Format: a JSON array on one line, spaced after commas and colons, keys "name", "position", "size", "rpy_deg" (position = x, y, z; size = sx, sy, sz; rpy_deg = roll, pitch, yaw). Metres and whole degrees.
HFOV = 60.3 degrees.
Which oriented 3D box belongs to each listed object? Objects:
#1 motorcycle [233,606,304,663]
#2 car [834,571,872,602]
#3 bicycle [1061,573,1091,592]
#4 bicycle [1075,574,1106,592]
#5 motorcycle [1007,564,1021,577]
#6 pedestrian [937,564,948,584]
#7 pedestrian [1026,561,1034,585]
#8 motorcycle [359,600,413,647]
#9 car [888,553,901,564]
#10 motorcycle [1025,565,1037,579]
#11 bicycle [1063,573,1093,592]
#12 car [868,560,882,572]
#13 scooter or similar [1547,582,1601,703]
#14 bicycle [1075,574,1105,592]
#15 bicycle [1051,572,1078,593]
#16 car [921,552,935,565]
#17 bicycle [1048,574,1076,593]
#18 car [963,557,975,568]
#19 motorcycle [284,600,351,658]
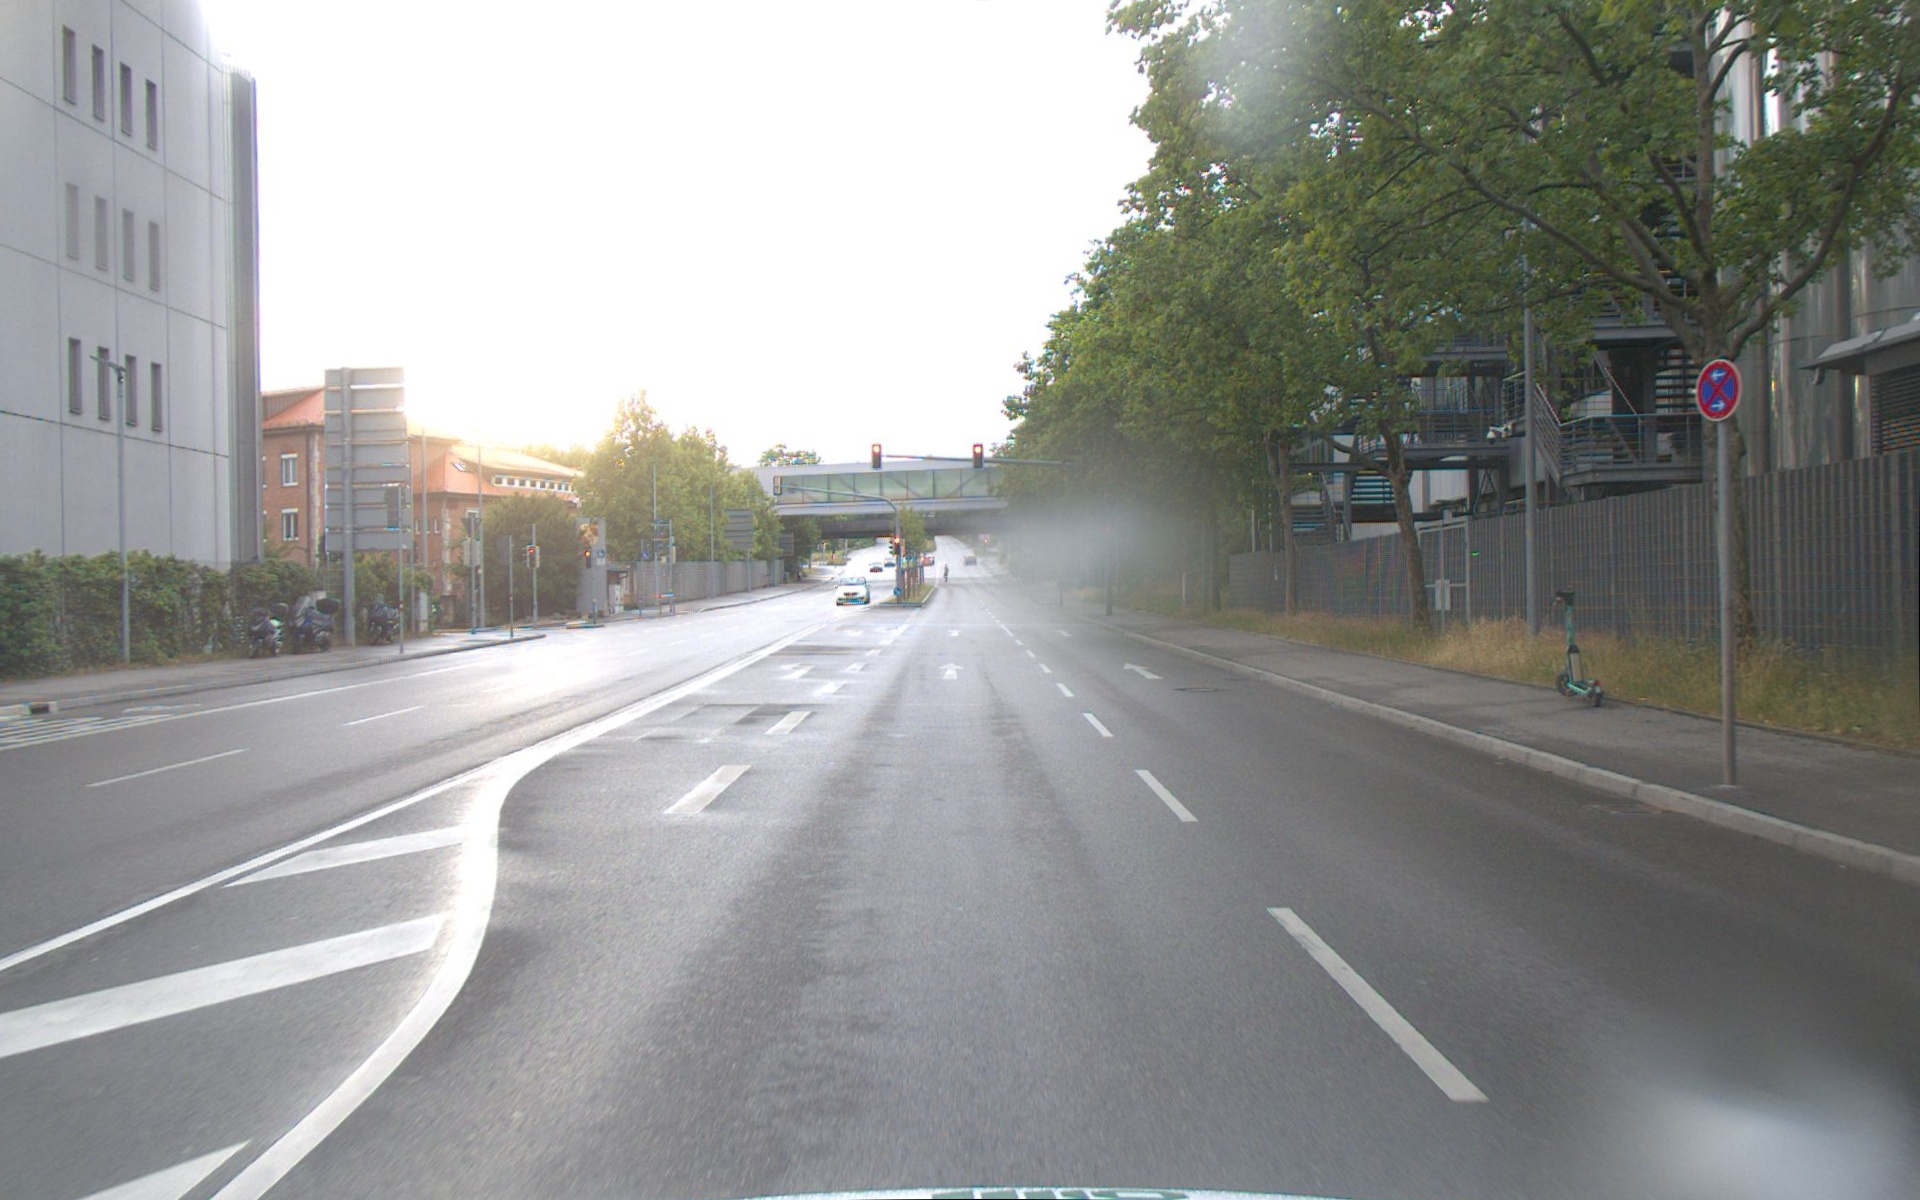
[{"name": "motorcycle", "position": [-16.406, 0.800, 39.310], "size": [0.769, 1.272, 2.157], "rpy_deg": [-1, 1, -1]}, {"name": "car", "position": [-5.988, -0.755, 93.048], "size": [1.839, 1.652, 3.779], "rpy_deg": [-2, 1, 0]}, {"name": "bicycle", "position": [7.769, -1.160, 111.126], "size": [1.949, 1.255, 0.541], "rpy_deg": [1, 0, 1]}, {"name": "bicycle", "position": [8.439, -1.087, 106.904], "size": [1.949, 1.114, 0.541], "rpy_deg": [1, 0, 1]}, {"name": "motorcycle", "position": [5.812, -3.228, 178.432], "size": [0.778, 1.334, 2.365], "rpy_deg": [-2, 1, -17]}, {"name": "pedestrian", "position": [-1.771, -2.687, 171.805], "size": [0.853, 2.039, 0.855], "rpy_deg": [-2, 1, 18]}, {"name": "pedestrian", "position": [6.167, -2.378, 145.755], "size": [0.609, 2.048, 0.605], "rpy_deg": [-2, 1, 0]}, {"name": "motorcycle", "position": [-16.487, 0.658, 47.546], "size": [0.769, 1.269, 2.157], "rpy_deg": [-1, 1, -1]}, {"name": "car", "position": [-10.403, -6.577, 261.161], "size": [1.839, 1.652, 3.779], "rpy_deg": [-2, 1, 0]}, {"name": "motorcycle", "position": [7.442, -2.929, 173.485], "size": [0.775, 1.334, 2.372], "rpy_deg": [-2, 1, -8]}, {"name": "bicycle", "position": [7.785, -1.158, 108.936], "size": [1.949, 1.237, 0.541], "rpy_deg": [1, 0, 1]}, {"name": "car", "position": [-12.094, -4.808, 235.598], "size": [1.839, 1.652, 3.779], "rpy_deg": [-2, 1, 0]}, {"name": "scooter or similar", "position": [6.826, 0.455, 18.413], "size": [0.321, 1.291, 1.109], "rpy_deg": [-1, 0, 8]}, {"name": "bicycle", "position": [8.444, -1.086, 107.472], "size": [1.949, 1.114, 0.541], "rpy_deg": [1, 0, 1]}, {"name": "bicycle", "position": [7.634, -1.256, 120.612], "size": [1.949, 1.455, 0.723], "rpy_deg": [1, 0, 1]}, {"name": "car", "position": [-5.000, -6.503, 259.990], "size": [1.952, 1.792, 4.000], "rpy_deg": [1, 0, 1]}, {"name": "bicycle", "position": [7.358, -1.199, 118.936], "size": [1.949, 1.352, 0.576], "rpy_deg": [1, 0, 1]}, {"name": "car", "position": [1.426, -5.833, 255.295], "size": [1.836, 1.523, 4.068], "rpy_deg": [1, 0, 1]}, {"name": "motorcycle", "position": [-16.264, 0.709, 41.950], "size": [0.769, 1.371, 2.369], "rpy_deg": [-1, 1, -1]}]
